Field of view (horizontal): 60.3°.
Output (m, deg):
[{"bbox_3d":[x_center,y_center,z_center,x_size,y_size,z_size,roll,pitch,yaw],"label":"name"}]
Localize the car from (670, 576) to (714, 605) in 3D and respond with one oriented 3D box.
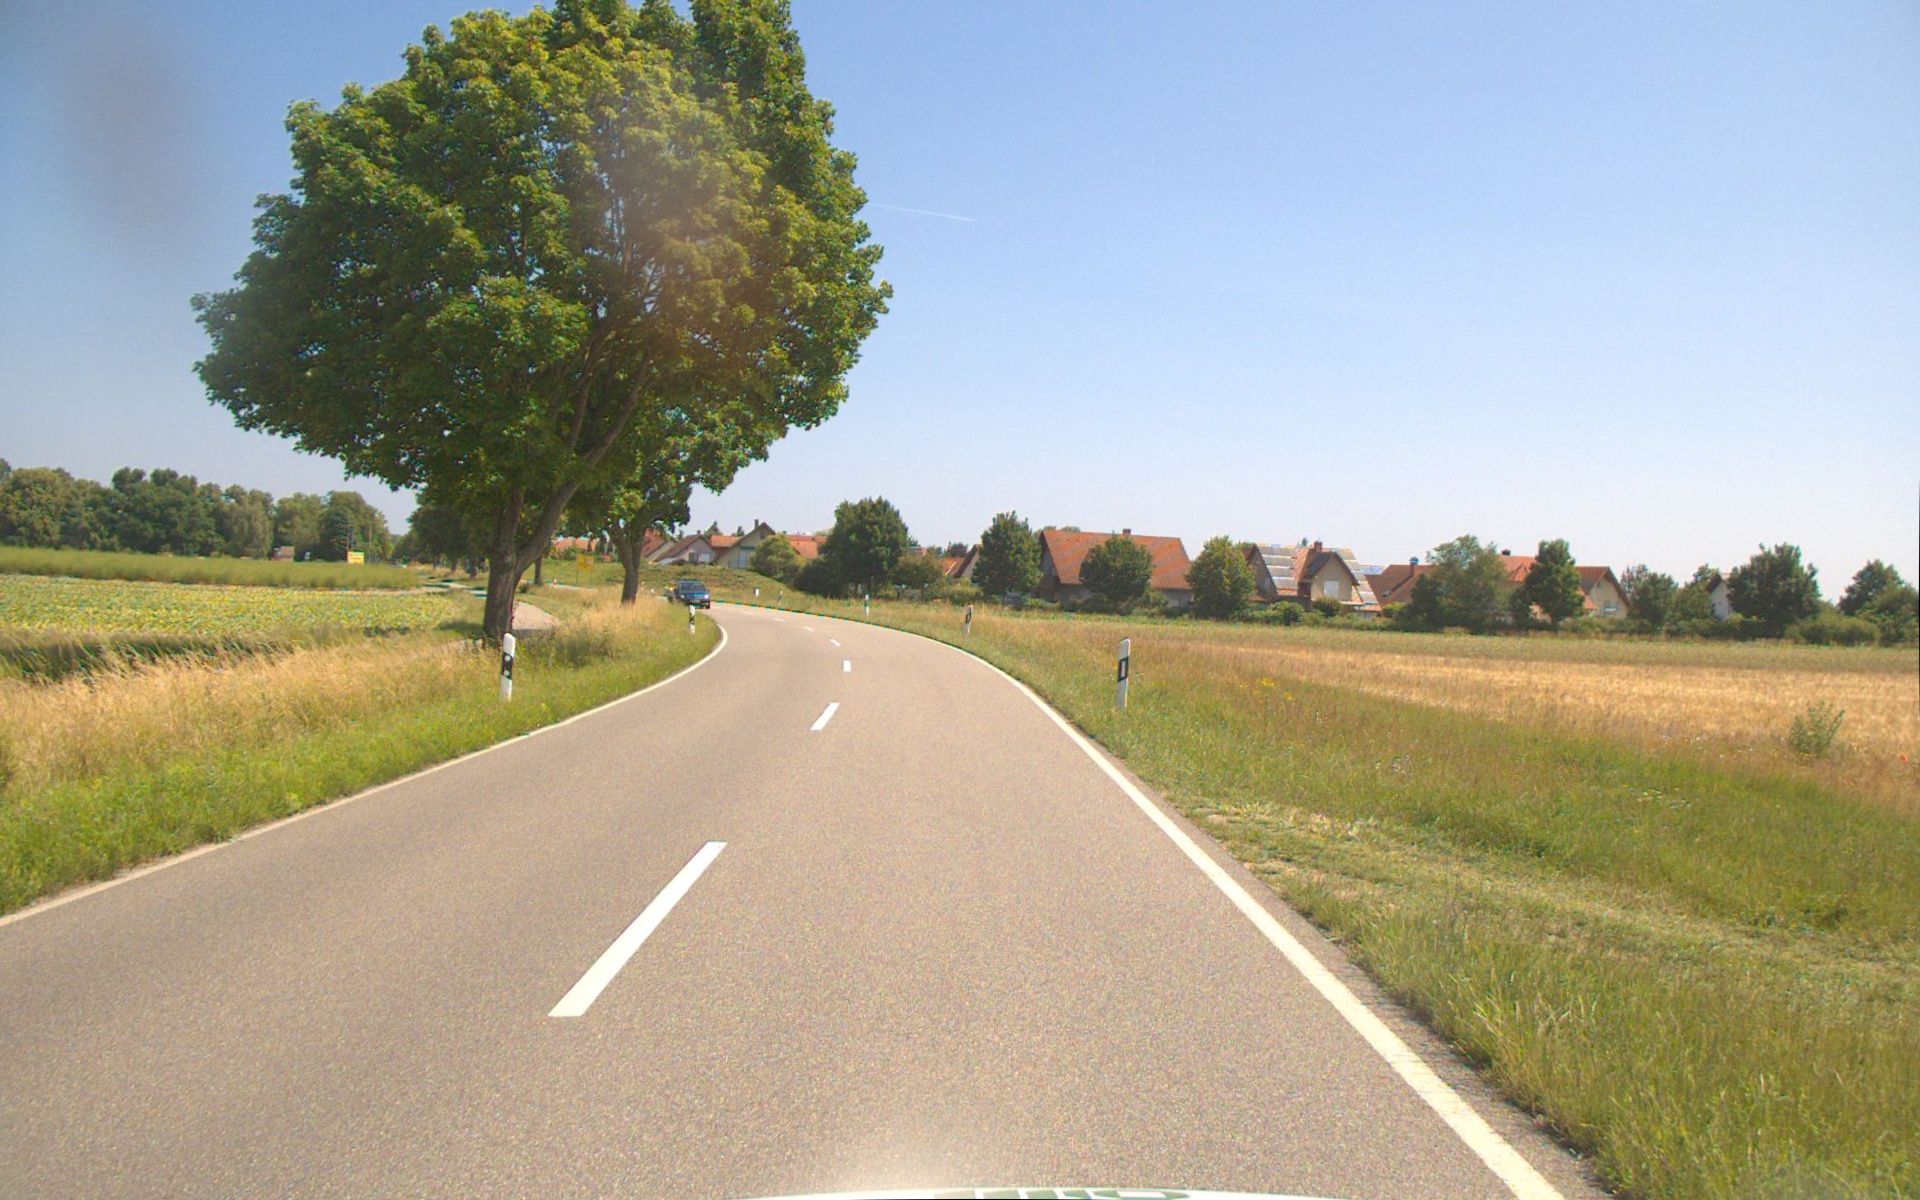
[{"bbox_3d":[-14.282,-0.505,87.936,1.619,1.454,4.157,-1,1,-19],"label":"car"}]
